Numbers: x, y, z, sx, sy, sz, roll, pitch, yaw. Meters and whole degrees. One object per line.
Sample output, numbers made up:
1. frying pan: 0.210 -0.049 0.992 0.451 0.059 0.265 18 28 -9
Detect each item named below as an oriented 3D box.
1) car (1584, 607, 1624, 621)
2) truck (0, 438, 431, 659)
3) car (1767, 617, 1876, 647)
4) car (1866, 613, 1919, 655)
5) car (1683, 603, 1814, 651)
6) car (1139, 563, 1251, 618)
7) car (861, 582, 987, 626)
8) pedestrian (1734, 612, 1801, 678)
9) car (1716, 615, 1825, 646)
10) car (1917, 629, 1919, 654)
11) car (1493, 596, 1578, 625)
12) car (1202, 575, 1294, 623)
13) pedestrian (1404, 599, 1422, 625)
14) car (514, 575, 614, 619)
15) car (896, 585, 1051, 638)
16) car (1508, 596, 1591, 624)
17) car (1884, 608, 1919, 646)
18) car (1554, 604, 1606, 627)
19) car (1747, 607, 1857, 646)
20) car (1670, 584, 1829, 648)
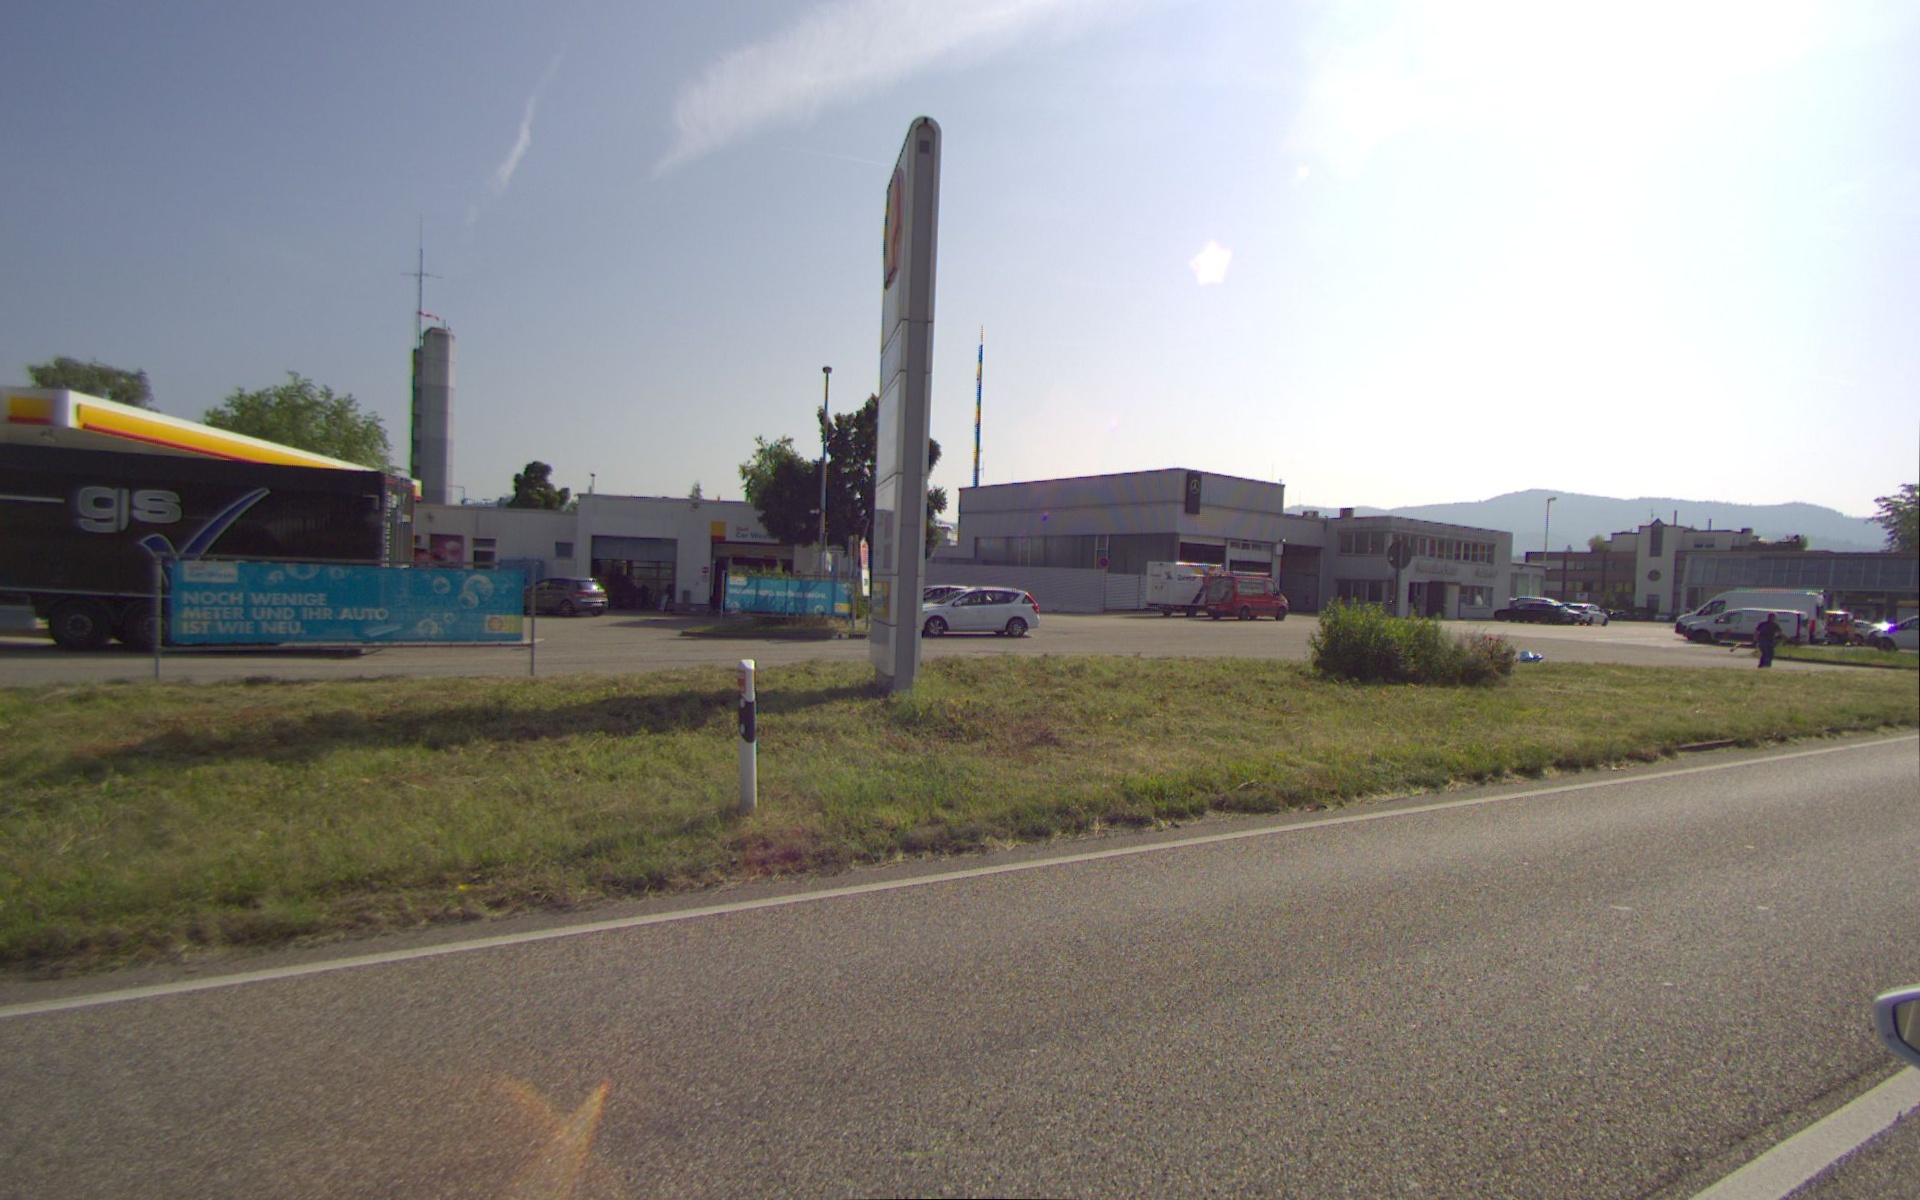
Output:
1. car: 82.258 1.832 128.318 1.708 1.625 3.971 3 -1 -27
2. truck: -20.418 -1.096 20.604 16.498 4.189 3.052 2 0 -16
3. car: 49.487 1.801 57.767 1.949 1.417 4.431 1 2 -37
4. car: 46.658 1.696 48.000 2.124 1.883 4.636 1 2 -37
5. car: 37.052 1.231 47.285 1.969 1.864 4.411 1 3 -37
6. car: 12.985 -0.482 55.218 6.466 2.894 2.377 1 1 -37
7. car: -1.380 0.169 38.885 4.593 1.587 1.710 1 1 -24
8. pedestrian: 21.991 1.209 27.369 1.120 1.712 0.851 2 0 9
9. car: 44.400 1.642 55.101 1.783 1.336 4.347 1 2 -37
10. car: 58.652 2.555 58.219 4.145 1.422 1.899 3 1 13
11. car: 40.928 0.704 71.525 2.189 1.879 4.782 0 1 -35
12. car: 15.172 -0.055 52.803 5.174 2.418 1.867 1 1 -37
13. pedestrian: 30.477 0.781 67.570 0.843 1.712 0.813 2 0 -39
14. car: -15.582 -0.128 39.404 4.249 1.587 1.714 2 1 38
15. car: 0.423 0.361 31.732 4.584 1.587 1.714 1 1 -18
16. car: 42.706 0.715 72.874 1.933 1.879 4.782 0 1 -35
17. car: 54.547 1.608 55.506 2.208 2.008 4.755 1 3 -37
18. car: 45.652 1.164 73.932 4.526 1.512 1.791 2 0 -38
19. car: 47.340 1.433 56.576 1.983 1.832 4.347 1 3 -37
20. car: 39.108 0.741 49.937 2.263 2.782 5.681 2 2 -35
